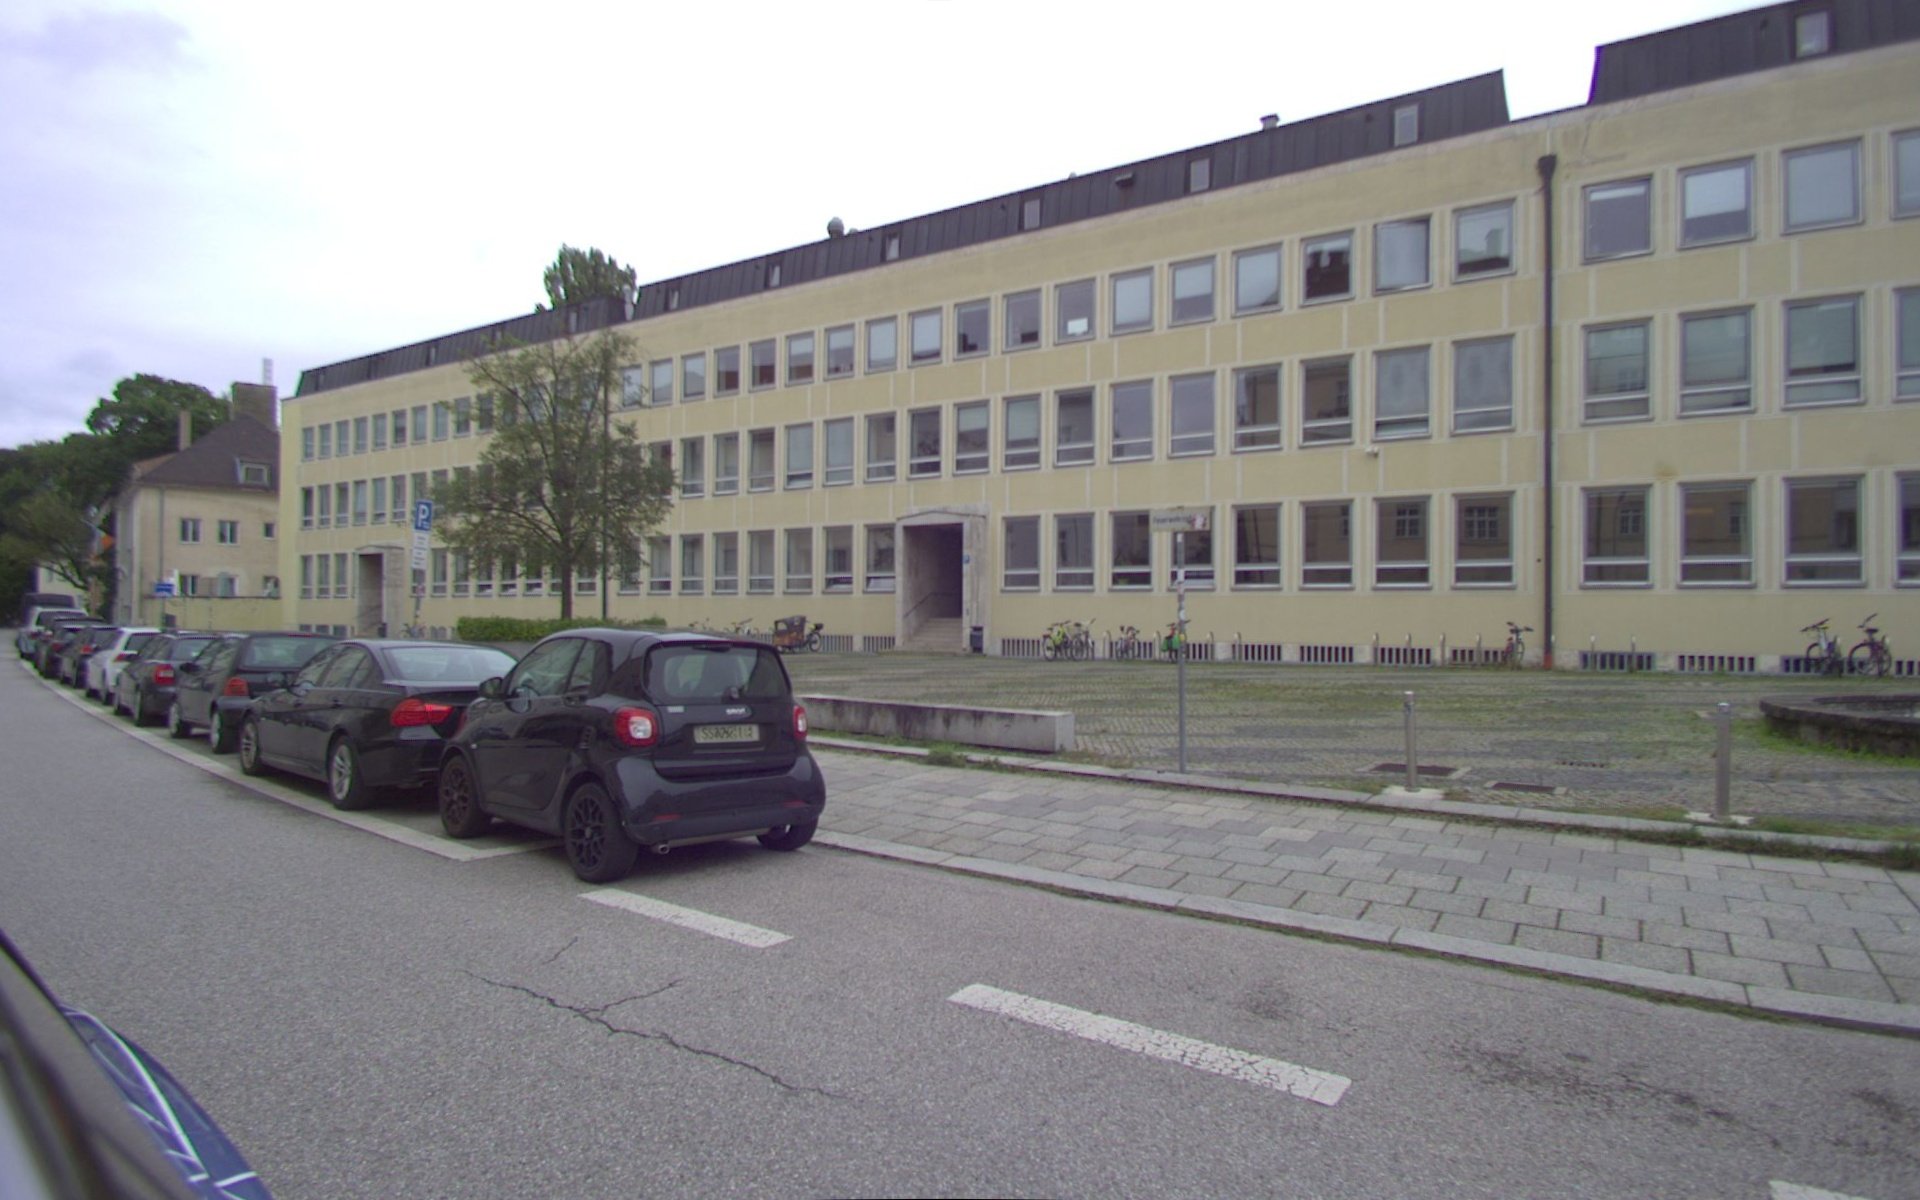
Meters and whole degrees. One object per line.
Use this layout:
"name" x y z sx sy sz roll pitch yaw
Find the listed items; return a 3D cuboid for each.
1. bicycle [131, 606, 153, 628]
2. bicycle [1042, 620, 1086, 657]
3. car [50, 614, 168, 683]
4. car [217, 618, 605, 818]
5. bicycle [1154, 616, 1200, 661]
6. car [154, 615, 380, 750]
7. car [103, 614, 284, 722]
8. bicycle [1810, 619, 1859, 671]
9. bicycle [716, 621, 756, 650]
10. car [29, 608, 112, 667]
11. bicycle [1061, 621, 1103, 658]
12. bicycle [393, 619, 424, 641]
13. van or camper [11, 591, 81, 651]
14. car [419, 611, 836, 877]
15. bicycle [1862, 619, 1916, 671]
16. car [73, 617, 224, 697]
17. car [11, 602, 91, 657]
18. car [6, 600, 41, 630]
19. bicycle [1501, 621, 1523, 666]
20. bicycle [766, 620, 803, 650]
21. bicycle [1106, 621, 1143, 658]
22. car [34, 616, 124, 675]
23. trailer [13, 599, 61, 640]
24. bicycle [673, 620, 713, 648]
"bicycle" -46.763 0.965 57.874 0.793 1.243 1.870 2 -1 -44
"bicycle" 3.021 1.096 29.247 0.413 0.952 1.936 -1 0 33
"car" -20.539 1.131 24.370 4.100 1.506 1.613 -1 -3 43
"car" -5.374 0.948 9.637 4.464 1.477 1.755 -1 -4 41
"bicycle" 5.826 1.005 27.111 0.699 1.104 1.833 -1 0 29
"car" -9.085 0.988 13.177 3.603 1.506 1.613 -1 -4 43
"car" -12.358 1.009 16.209 4.276 1.506 1.612 -1 -3 44
"bicycle" 17.391 0.877 20.147 0.412 0.952 1.461 -1 0 29
"bicycle" -7.945 1.248 35.943 0.501 0.952 1.594 -1 0 27
"car" -27.725 1.140 31.504 1.695 1.702 4.144 3 -3 -44
"bicycle" 3.461 1.102 28.540 0.413 0.952 1.843 -1 0 33
"bicycle" -25.807 1.388 47.395 0.411 0.952 1.404 -1 0 17
"van or camper" -43.691 1.018 48.424 2.265 2.671 5.567 4 -3 -42
"car" -2.428 0.859 7.172 2.885 1.477 1.503 -1 -4 41
"bicycle" 18.142 0.862 19.785 0.412 0.952 1.461 -1 0 29
"car" -16.304 1.079 20.258 4.295 1.433 1.722 -1 -3 43
"car" -34.891 1.132 38.808 4.963 1.975 1.893 -2 -4 44
"car" -81.688 1.339 88.257 2.087 2.495 5.235 3 -3 -44
"bicycle" 12.582 0.984 23.065 0.412 0.952 1.398 -1 0 29
"bicycle" -5.983 1.188 34.604 0.500 0.952 1.597 -1 0 22
"bicycle" 4.532 1.064 27.809 0.413 0.952 1.394 -1 0 36
"car" -24.126 1.196 27.666 1.612 1.506 3.822 3 -2 -44
"trailer" -59.036 1.232 64.798 1.951 2.490 4.584 5 -3 -40
"bicycle" -9.813 1.243 37.225 0.501 0.952 1.594 -1 0 27
